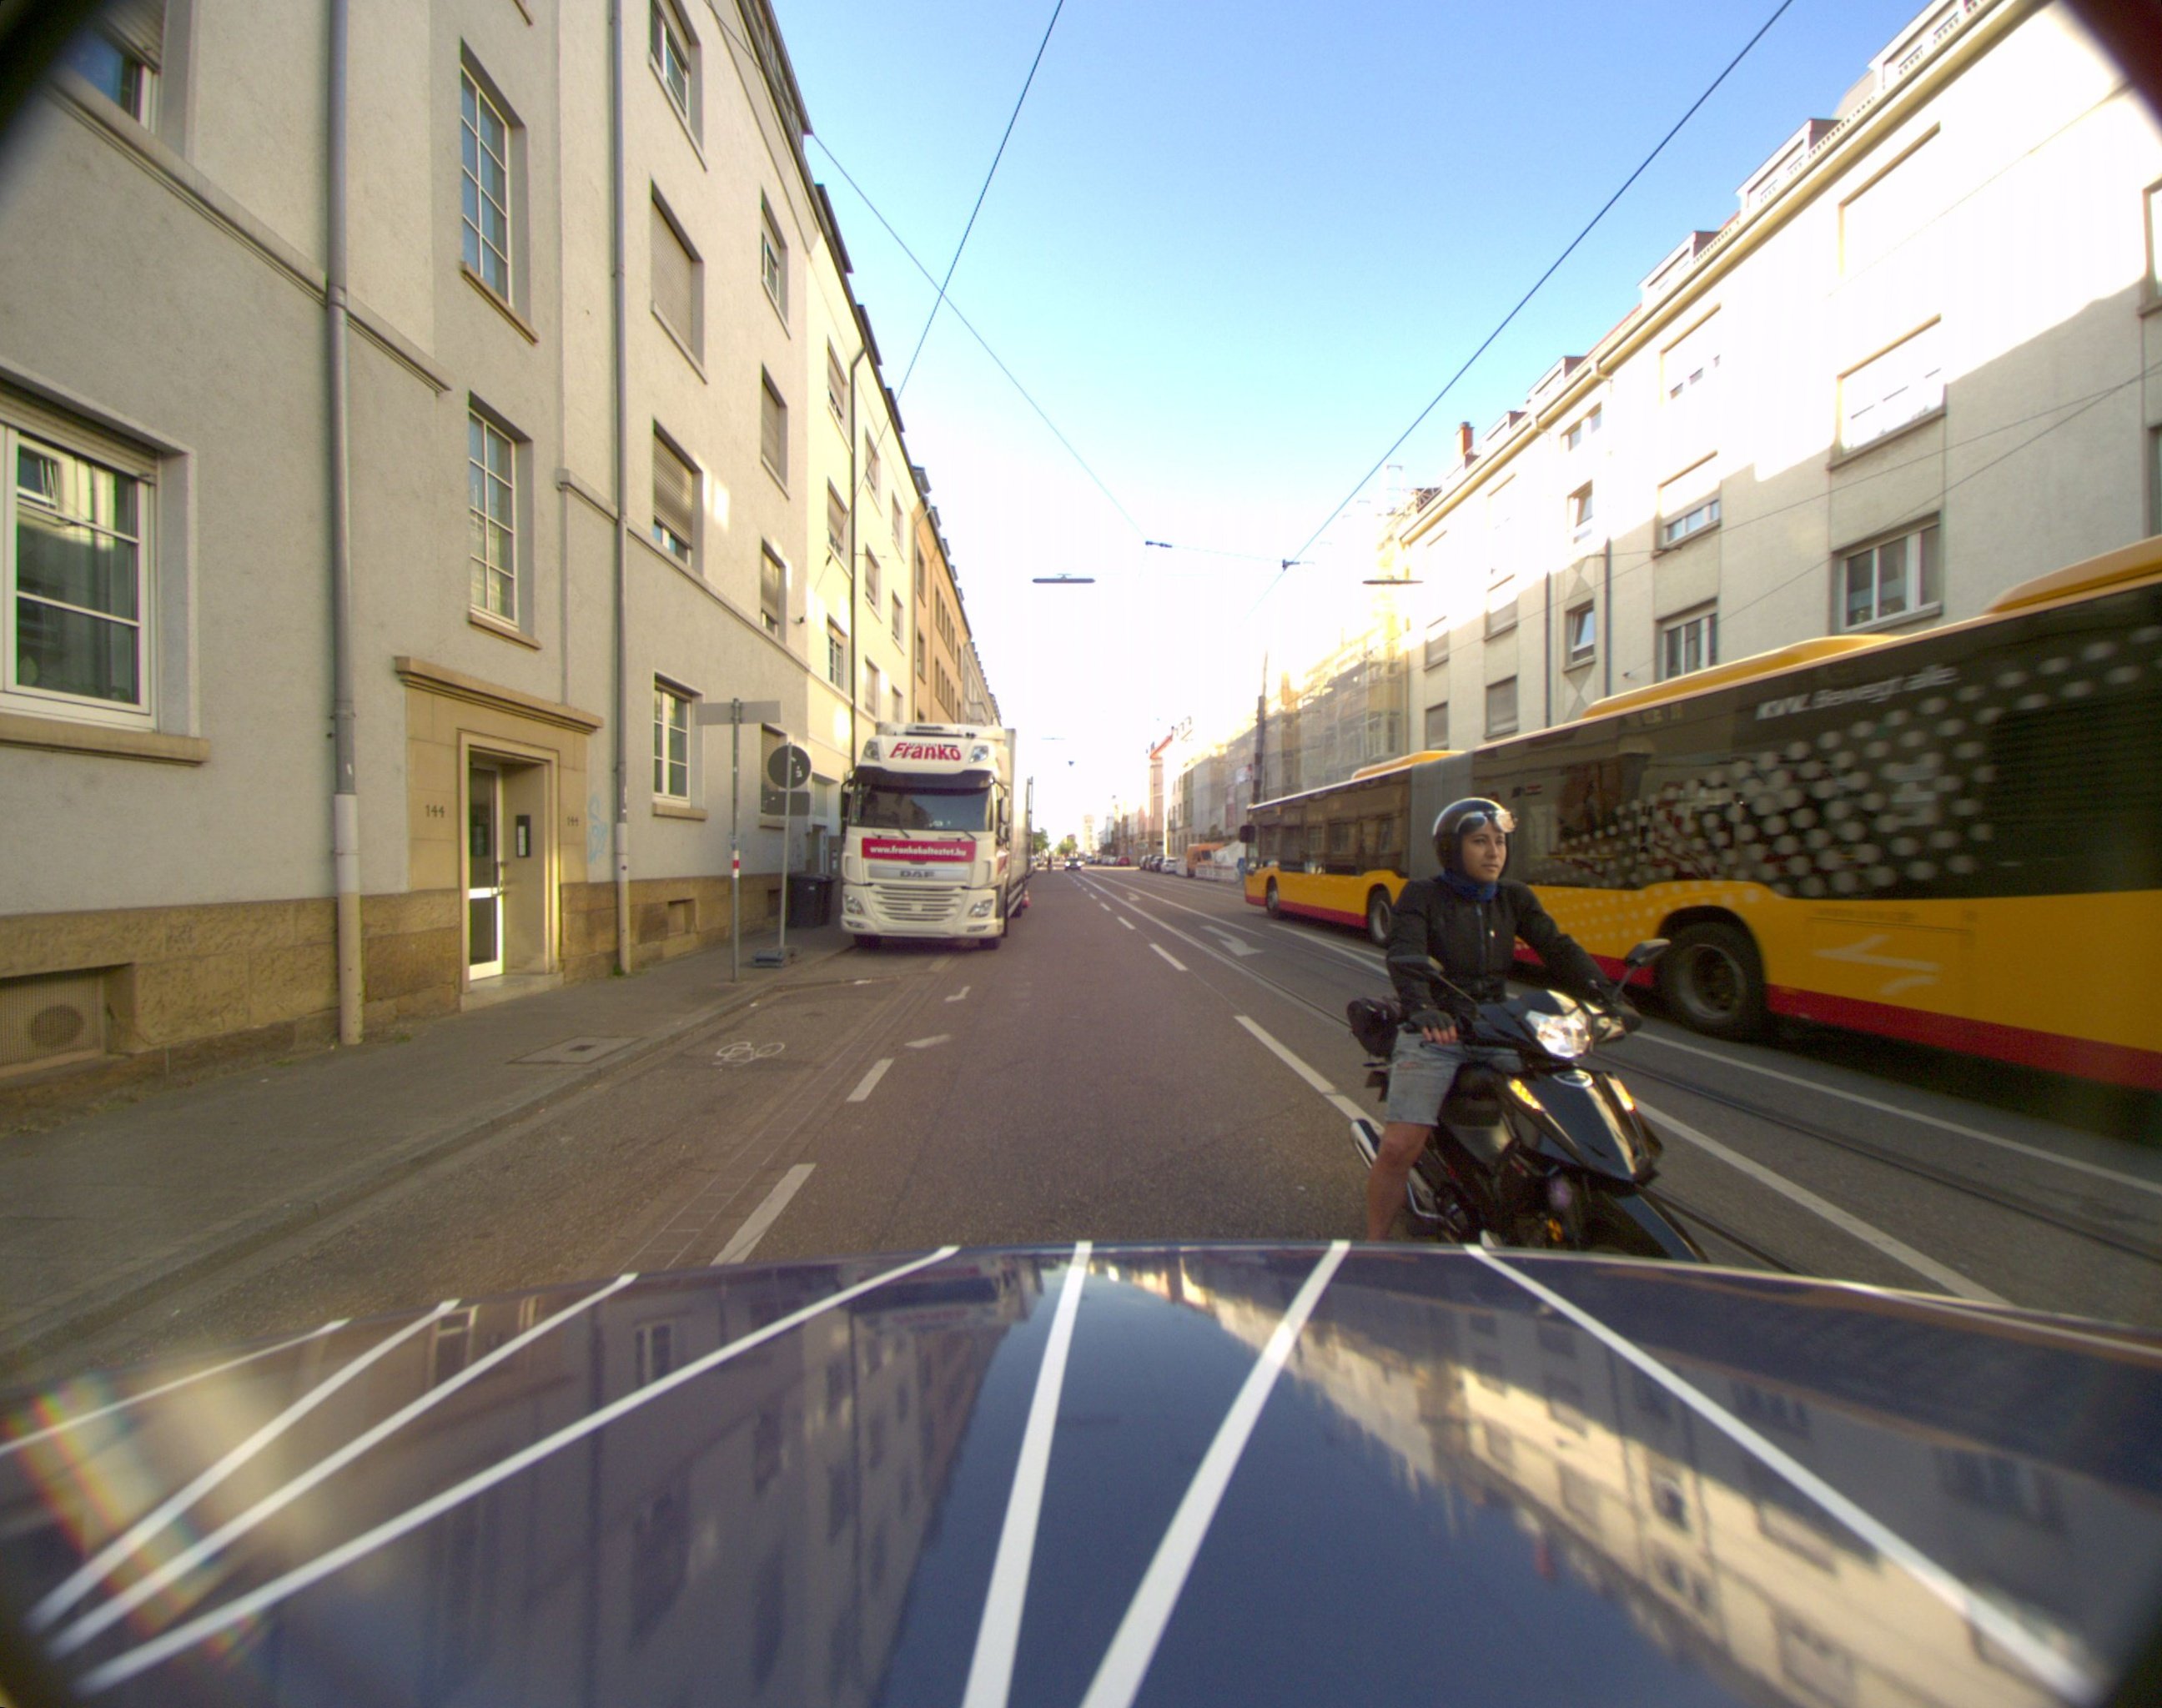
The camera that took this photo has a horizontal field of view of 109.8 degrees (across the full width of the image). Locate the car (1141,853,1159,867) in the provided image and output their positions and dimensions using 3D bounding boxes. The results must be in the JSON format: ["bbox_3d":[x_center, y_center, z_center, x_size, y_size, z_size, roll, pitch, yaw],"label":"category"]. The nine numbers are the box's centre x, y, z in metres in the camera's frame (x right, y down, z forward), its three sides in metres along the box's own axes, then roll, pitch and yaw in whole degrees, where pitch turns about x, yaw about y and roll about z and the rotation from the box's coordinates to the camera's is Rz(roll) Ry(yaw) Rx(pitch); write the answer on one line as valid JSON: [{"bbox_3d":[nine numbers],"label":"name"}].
[{"bbox_3d":[7.965,0.726,88.144,1.798,1.601,3.769,0,0,1],"label":"car"}]

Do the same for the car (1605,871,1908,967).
[{"bbox_3d":[11.221,0.999,13.030,1.704,1.209,3.784,-2,1,-3],"label":"car"}]

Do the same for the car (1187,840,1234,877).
[{"bbox_3d":[9.008,0.312,53.340,2.125,2.454,5.999,1,0,-2],"label":"car"}]

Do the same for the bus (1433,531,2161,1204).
[{"bbox_3d":[6.262,0.057,6.394,2.745,3.143,7.575,0,0,-3],"label":"bus"}]

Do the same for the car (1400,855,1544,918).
[{"bbox_3d":[10.834,0.828,21.456,1.704,1.558,4.405,0,0,-2],"label":"car"}]

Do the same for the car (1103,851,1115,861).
[{"bbox_3d":[5.536,0.405,149.171,1.999,2.002,3.999,1,0,-3],"label":"car"}]

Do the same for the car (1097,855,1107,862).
[{"bbox_3d":[4.571,0.939,167.662,1.799,1.494,3.768,-2,0,-3],"label":"car"}]

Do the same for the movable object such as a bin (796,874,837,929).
[{"bbox_3d":[-5.429,0.966,15.624,0.660,1.098,0.541,0,1,-5],"label":"movable object such as a bin"}]

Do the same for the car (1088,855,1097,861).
[{"bbox_3d":[2.865,1.073,191.731,1.799,1.494,3.768,-2,0,-3],"label":"car"}]

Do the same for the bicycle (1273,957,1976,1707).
[{"bbox_3d":[1.274,1.047,2.411,0.740,1.170,1.973,0,0,-3],"label":"bicycle"}]

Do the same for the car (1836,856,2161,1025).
[{"bbox_3d":[11.429,0.865,8.608,1.704,1.560,3.998,-2,1,-2],"label":"car"}]

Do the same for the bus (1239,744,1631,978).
[{"bbox_3d":[5.850,0.084,15.342,2.730,3.140,10.192,0,0,-3],"label":"bus"}]

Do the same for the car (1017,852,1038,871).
[{"bbox_3d":[-5.010,0.678,71.620,1.703,1.688,4.187,1,0,0],"label":"car"}]

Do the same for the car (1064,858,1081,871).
[{"bbox_3d":[-0.908,1.153,84.506,1.859,1.369,4.000,0,0,1],"label":"car"}]

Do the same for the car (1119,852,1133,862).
[{"bbox_3d":[6.987,0.393,118.759,1.799,1.494,3.768,-2,0,-3],"label":"car"}]

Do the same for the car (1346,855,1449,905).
[{"bbox_3d":[10.732,0.834,26.087,1.704,1.407,3.998,-3,1,-2],"label":"car"}]

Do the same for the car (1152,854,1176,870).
[{"bbox_3d":[8.364,0.773,77.190,1.702,1.569,4.221,-2,0,-3],"label":"car"}]

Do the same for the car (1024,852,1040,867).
[{"bbox_3d":[-5.308,0.616,82.401,1.703,1.581,3.960,0,0,-2],"label":"car"}]

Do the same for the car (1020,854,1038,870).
[{"bbox_3d":[-5.244,0.802,77.282,1.703,1.496,3.862,0,0,-1],"label":"car"}]

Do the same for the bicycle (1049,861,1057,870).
[{"bbox_3d":[-2.685,1.112,74.081,0.744,0.850,1.885,0,0,-1],"label":"bicycle"}]

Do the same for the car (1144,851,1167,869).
[{"bbox_3d":[8.136,0.610,83.274,1.799,1.836,3.768,-2,0,-3],"label":"car"}]

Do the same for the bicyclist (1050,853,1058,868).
[{"bbox_3d":[-2.673,0.654,74.231,0.744,1.481,0.816,0,1,-1],"label":"bicyclist"}]

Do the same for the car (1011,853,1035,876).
[{"bbox_3d":[-4.508,0.793,59.439,1.713,1.683,4.588,1,0,-3],"label":"car"}]

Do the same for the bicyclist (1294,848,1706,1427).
[{"bbox_3d":[1.246,0.758,2.465,0.844,1.545,0.849,0,1,-3],"label":"bicyclist"}]

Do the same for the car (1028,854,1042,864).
[{"bbox_3d":[-6.793,0.696,112.984,1.999,1.412,3.726,1,0,-2],"label":"car"}]

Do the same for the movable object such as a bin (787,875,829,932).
[{"bbox_3d":[-5.393,0.971,15.032,0.660,1.098,0.541,0,1,-5],"label":"movable object such as a bin"}]

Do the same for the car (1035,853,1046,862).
[{"bbox_3d":[-7.601,0.630,142.960,1.999,1.630,3.999,1,0,-2],"label":"car"}]

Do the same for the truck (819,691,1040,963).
[{"bbox_3d":[-2.573,-0.403,17.237,2.867,4.049,11.776,0,0,-1],"label":"truck"}]

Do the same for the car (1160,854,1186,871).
[{"bbox_3d":[8.583,0.777,71.131,1.751,1.502,3.999,1,0,-2],"label":"car"}]
